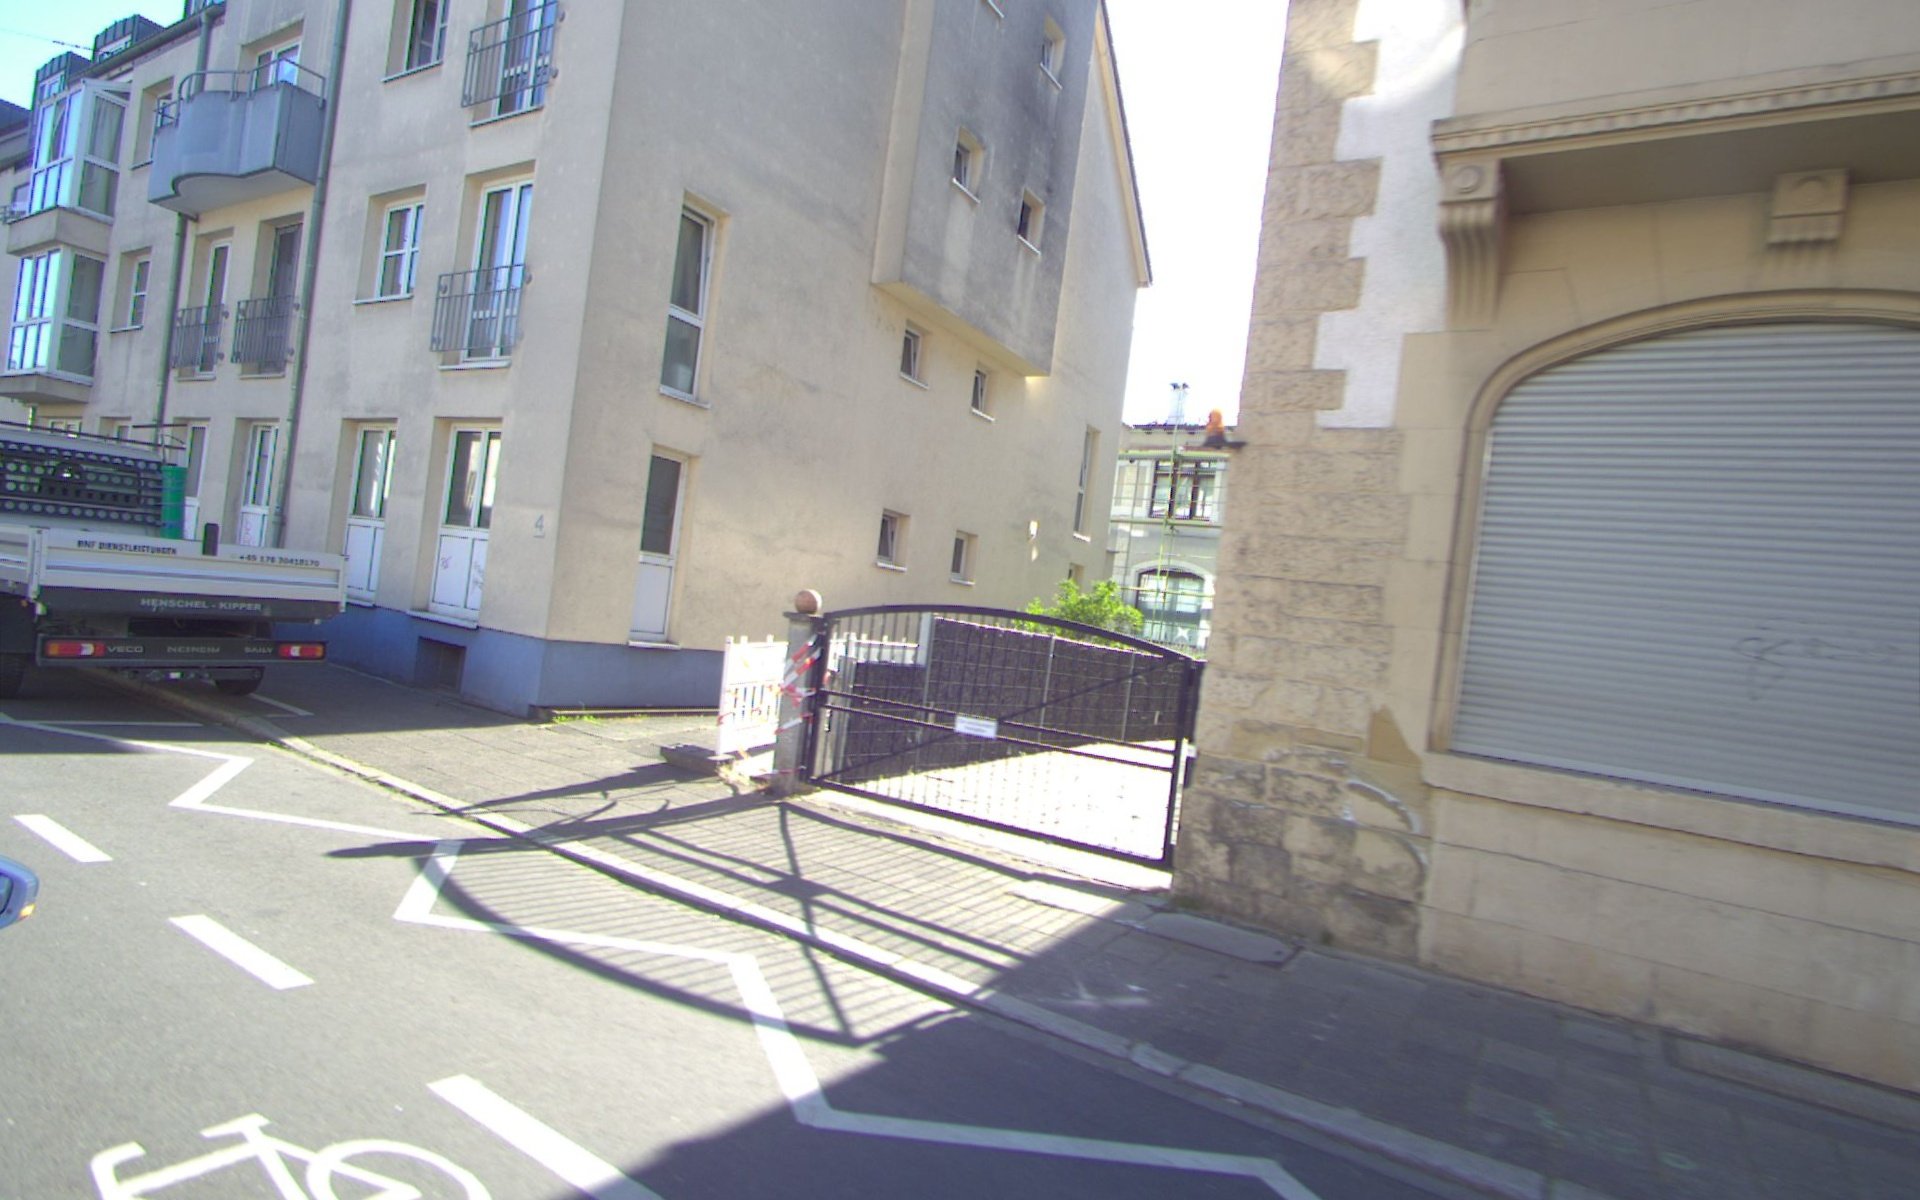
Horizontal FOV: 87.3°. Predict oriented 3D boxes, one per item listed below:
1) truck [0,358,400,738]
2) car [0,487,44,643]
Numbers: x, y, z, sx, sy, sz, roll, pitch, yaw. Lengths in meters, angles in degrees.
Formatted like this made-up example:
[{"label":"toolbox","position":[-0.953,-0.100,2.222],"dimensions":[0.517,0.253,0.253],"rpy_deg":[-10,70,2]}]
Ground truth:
[{"label":"truck","position":[-8.020,-0.530,9.203],"dimensions":[6.046,2.507,2.298],"rpy_deg":[7,-1,33]},{"label":"car","position":[-13.107,-0.686,12.222],"dimensions":[4.186,1.766,1.743],"rpy_deg":[7,-3,33]}]
